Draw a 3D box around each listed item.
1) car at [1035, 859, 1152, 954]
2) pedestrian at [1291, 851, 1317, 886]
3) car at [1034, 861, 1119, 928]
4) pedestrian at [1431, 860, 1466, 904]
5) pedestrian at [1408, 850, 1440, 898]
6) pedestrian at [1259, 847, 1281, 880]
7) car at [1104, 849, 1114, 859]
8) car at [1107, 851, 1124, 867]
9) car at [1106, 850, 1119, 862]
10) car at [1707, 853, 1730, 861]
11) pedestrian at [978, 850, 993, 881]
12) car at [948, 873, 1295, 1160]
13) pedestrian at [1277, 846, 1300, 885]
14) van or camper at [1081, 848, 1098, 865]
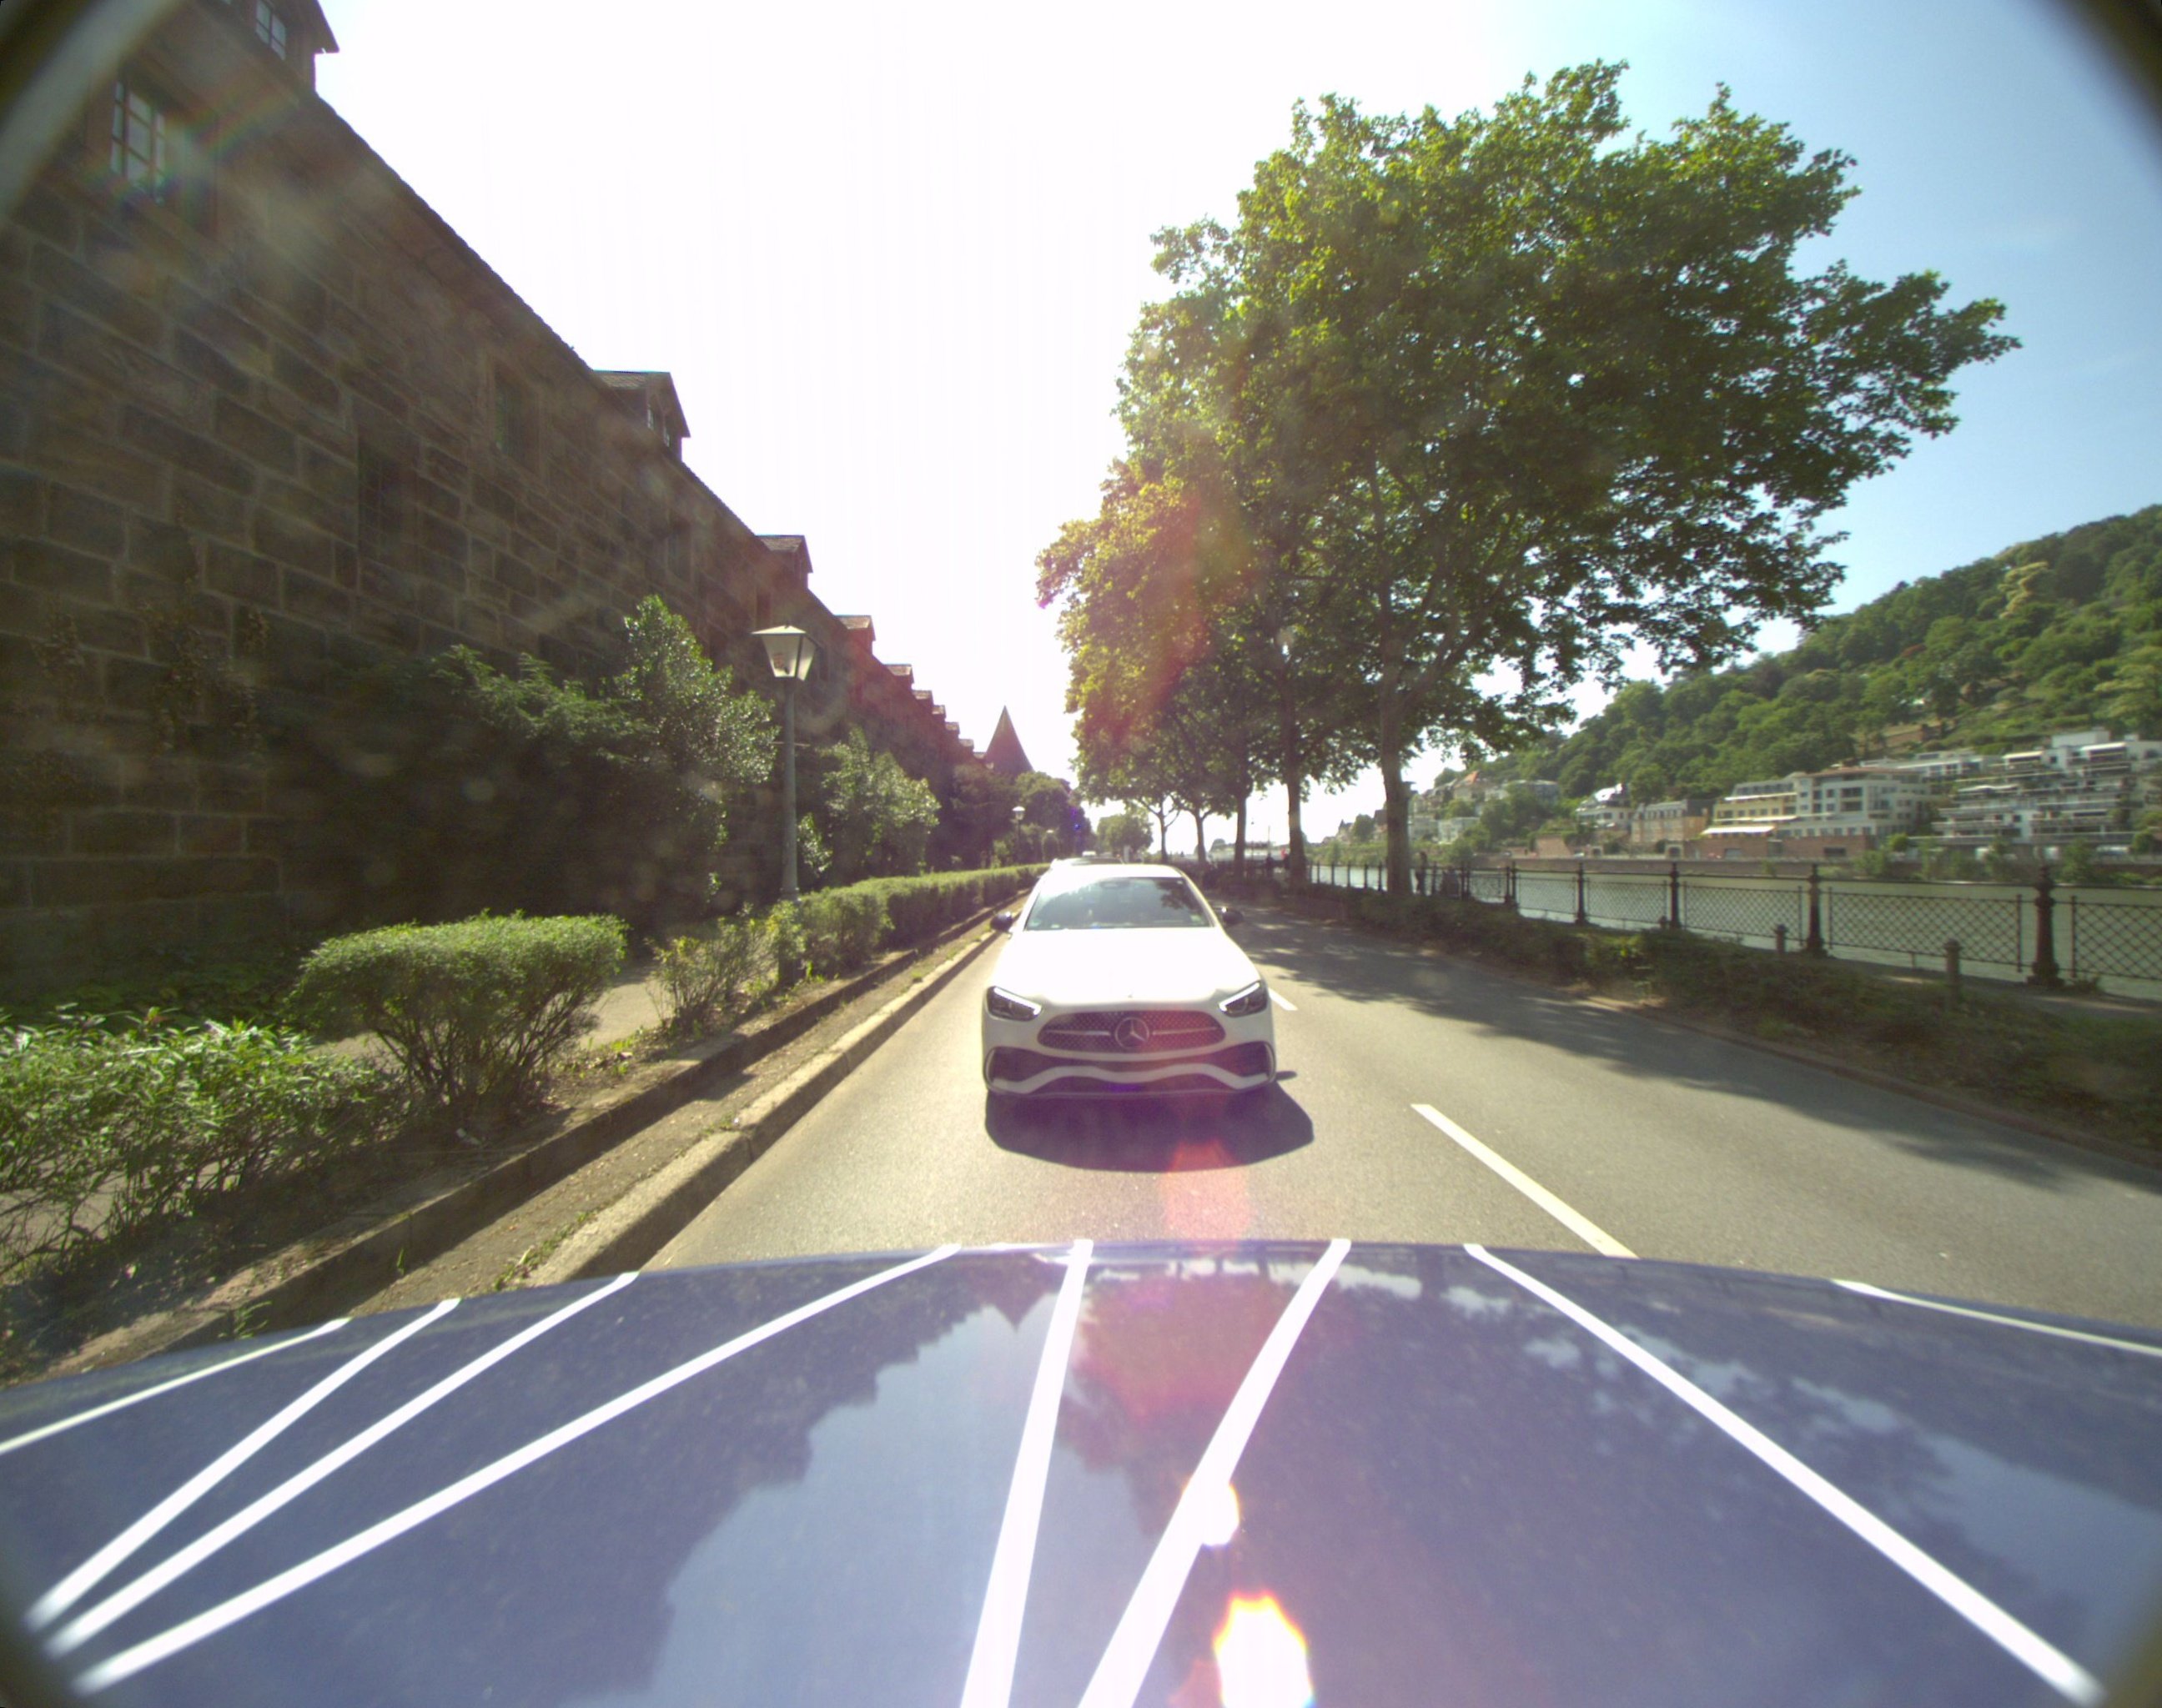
[{"bbox_3d":[0.229,0.860,14.370,1.833,1.428,4.270,-2,0,1],"label":"car"},{"bbox_3d":[10.871,0.707,37.084,0.898,1.625,1.058,-2,1,-4],"label":"pedestrian"},{"bbox_3d":[-0.063,0.922,19.071,1.833,1.395,4.424,-2,0,1],"label":"car"},{"bbox_3d":[11.979,0.907,24.776,0.768,1.379,0.770,1,0,0],"label":"pedestrian"},{"bbox_3d":[12.877,0.735,28.556,0.777,1.748,0.830,1,1,0],"label":"pedestrian"},{"bbox_3d":[11.891,0.605,47.805,1.047,2.002,1.036,-1,1,31],"label":"pedestrian"},{"bbox_3d":[6.050,0.080,163.920,2.165,2.002,4.000,-2,1,1],"label":"car"},{"bbox_3d":[4.886,0.704,107.617,2.165,2.002,4.000,-2,1,1],"label":"car"},{"bbox_3d":[5.635,0.355,136.874,2.165,2.002,4.000,-2,1,1],"label":"car"},{"bbox_3d":[160.015,0.768,190.679,2.000,2.002,3.996,-2,1,-10],"label":"car"},{"bbox_3d":[-4.790,0.576,38.150,0.643,1.555,0.563,-2,1,1],"label":"pedestrian"},{"bbox_3d":[0.249,0.939,6.253,1.833,1.395,4.270,-2,0,1],"label":"car"},{"bbox_3d":[10.178,0.561,37.315,0.806,1.839,0.929,-2,1,1],"label":"pedestrian"},{"bbox_3d":[1.234,0.402,112.320,2.313,2.358,5.035,1,0,0],"label":"van or camper"}]
